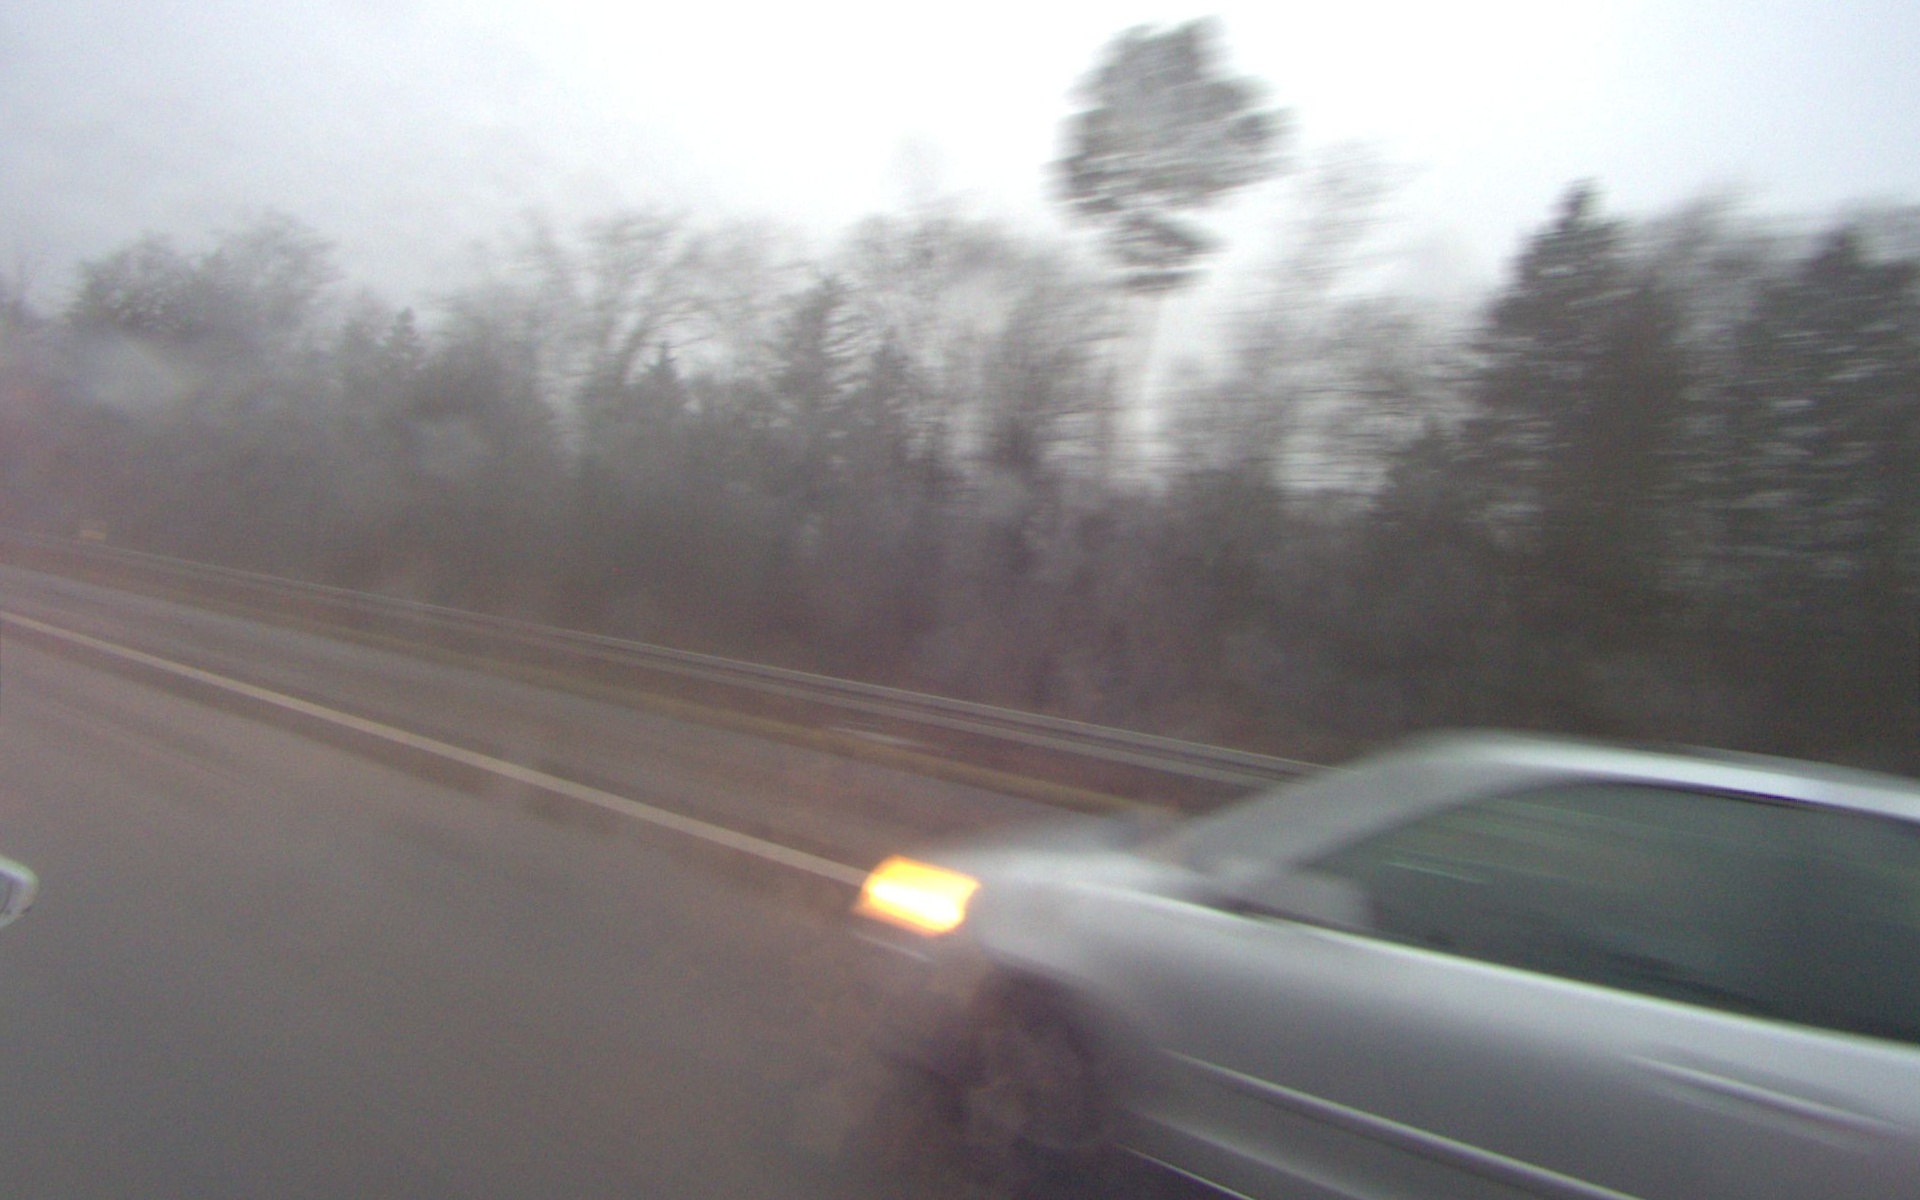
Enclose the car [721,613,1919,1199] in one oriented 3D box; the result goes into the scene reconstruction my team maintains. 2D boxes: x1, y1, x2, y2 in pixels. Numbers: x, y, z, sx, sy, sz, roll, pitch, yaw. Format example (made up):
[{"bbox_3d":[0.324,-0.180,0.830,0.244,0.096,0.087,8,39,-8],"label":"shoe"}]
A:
[{"bbox_3d":[1.085,0.948,3.073,3.250,1.382,1.601,6,-1,32],"label":"car"}]
